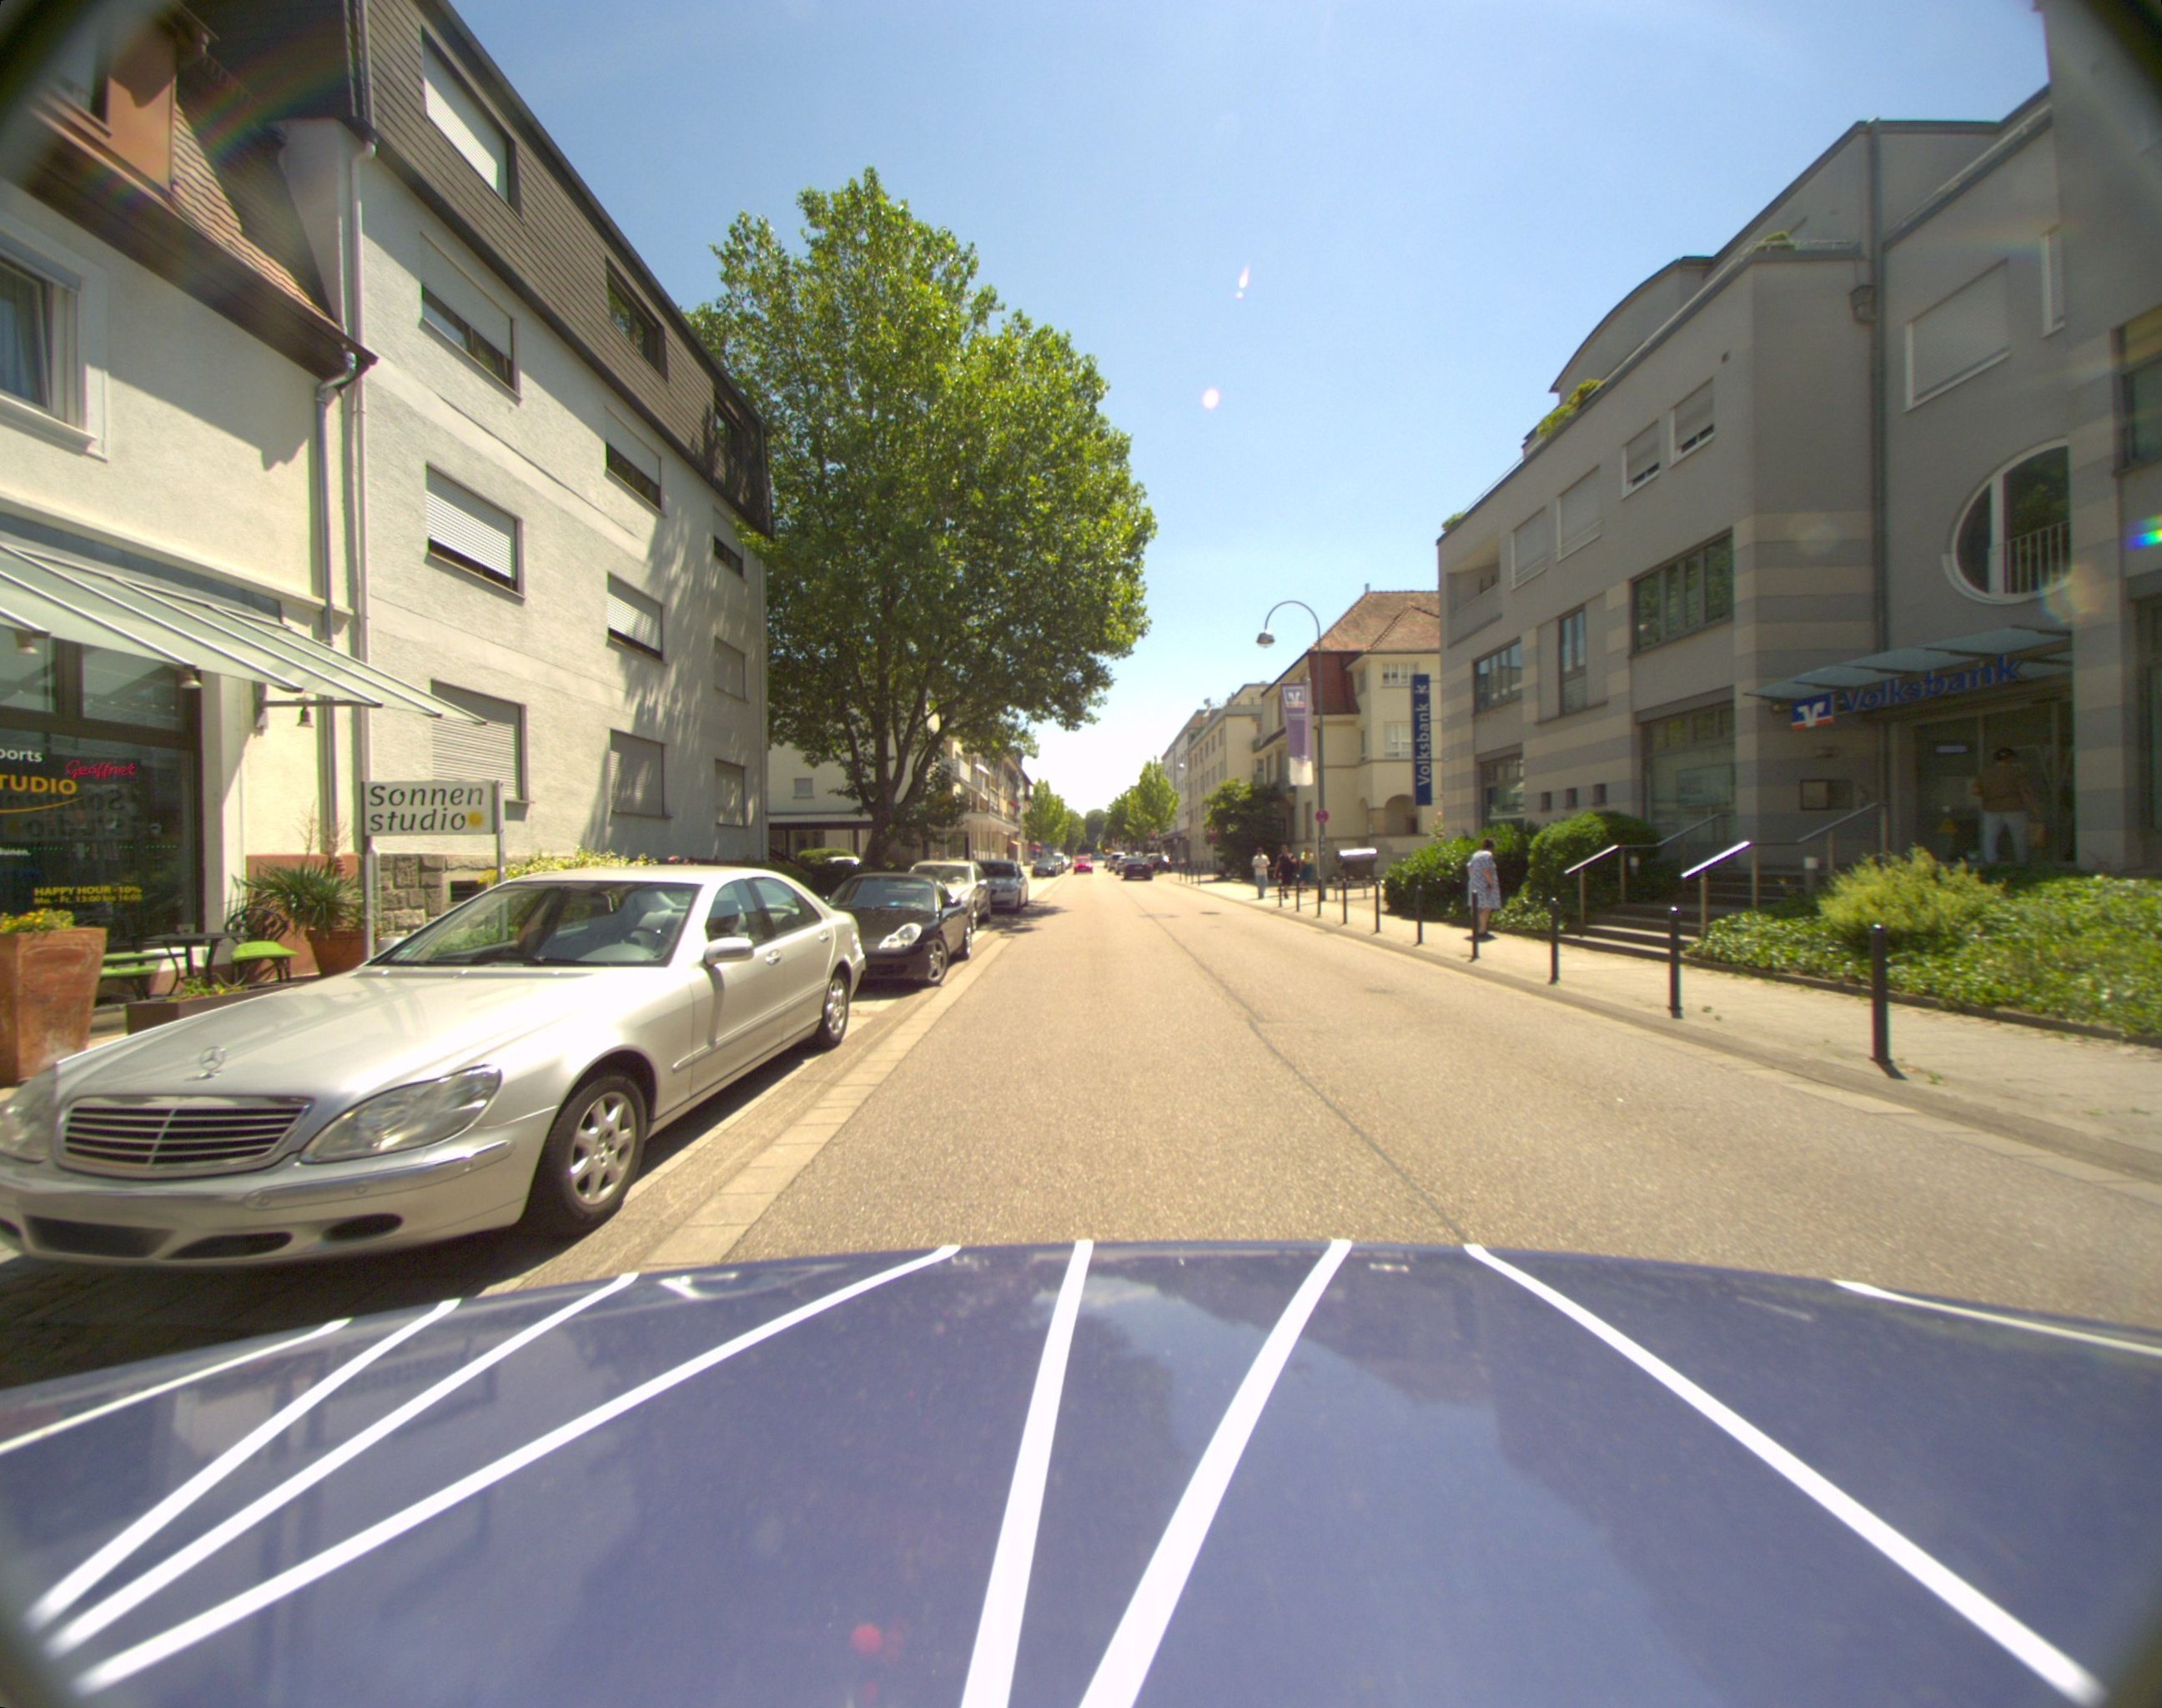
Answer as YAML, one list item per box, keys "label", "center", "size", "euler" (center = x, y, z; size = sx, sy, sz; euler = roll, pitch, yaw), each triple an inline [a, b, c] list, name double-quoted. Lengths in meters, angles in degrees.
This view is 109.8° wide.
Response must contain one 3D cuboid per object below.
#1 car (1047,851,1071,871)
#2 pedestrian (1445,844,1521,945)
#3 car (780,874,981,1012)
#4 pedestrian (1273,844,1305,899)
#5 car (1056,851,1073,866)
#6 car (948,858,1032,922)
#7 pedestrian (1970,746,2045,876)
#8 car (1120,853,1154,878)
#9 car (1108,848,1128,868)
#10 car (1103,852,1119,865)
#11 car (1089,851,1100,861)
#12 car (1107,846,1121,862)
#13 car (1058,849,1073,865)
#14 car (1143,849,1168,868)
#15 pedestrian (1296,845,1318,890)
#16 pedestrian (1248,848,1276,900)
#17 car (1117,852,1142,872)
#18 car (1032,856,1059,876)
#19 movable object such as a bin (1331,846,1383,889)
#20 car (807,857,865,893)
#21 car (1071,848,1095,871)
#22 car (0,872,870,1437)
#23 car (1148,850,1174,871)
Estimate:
- label: "car"
  center: [-1.956, 0.606, 68.370]
  size: [1.731, 1.752, 4.115]
  euler: [-1, 0, 3]
- label: "pedestrian"
  center: [6.776, 0.659, 12.840]
  size: [0.848, 1.635, 0.751]
  euler: [-1, 1, -1]
- label: "car"
  center: [-2.389, 0.991, 10.109]
  size: [1.561, 1.332, 4.173]
  euler: [0, 0, 0]
- label: "pedestrian"
  center: [6.900, 0.575, 25.209]
  size: [0.750, 1.760, 0.951]
  euler: [-2, 1, 0]
- label: "car"
  center: [-1.883, 0.458, 87.379]
  size: [1.731, 1.680, 4.114]
  euler: [-1, 0, 0]
- label: "car"
  center: [-2.529, 0.956, 22.296]
  size: [1.834, 1.502, 4.759]
  euler: [-4, 0, -1]
- label: "pedestrian"
  center: [12.828, -0.576, 10.524]
  size: [0.582, 1.729, 0.610]
  euler: [-2, 1, -35]
- label: "car"
  center: [3.428, 0.714, 47.526]
  size: [1.834, 1.502, 4.262]
  euler: [0, 0, 0]
- label: "car"
  center: [3.605, 0.362, 74.124]
  size: [1.706, 1.815, 4.231]
  euler: [0, 0, 0]
- label: "car"
  center: [3.544, 0.487, 91.034]
  size: [1.731, 1.500, 4.293]
  euler: [0, 1, 0]
- label: "car"
  center: [2.113, 0.306, 123.192]
  size: [1.698, 1.594, 3.812]
  euler: [-1, 0, 0]
- label: "car"
  center: [4.546, 0.019, 104.540]
  size: [1.731, 2.154, 4.294]
  euler: [0, 0, 0]
- label: "car"
  center: [-1.819, 0.362, 92.444]
  size: [1.731, 1.861, 4.114]
  euler: [-1, 0, 0]
- label: "car"
  center: [6.903, 0.395, 70.632]
  size: [1.732, 1.661, 4.293]
  euler: [-2, 0, -1]
- label: "pedestrian"
  center: [8.599, 0.517, 28.931]
  size: [0.541, 1.665, 0.735]
  euler: [-2, 1, 0]
- label: "pedestrian"
  center: [6.018, 0.643, 25.344]
  size: [0.622, 1.667, 0.903]
  euler: [-3, 1, 0]
- label: "car"
  center: [3.872, 0.626, 61.257]
  size: [1.834, 1.502, 4.031]
  euler: [0, 0, 0]
- label: "car"
  center: [-2.646, 0.851, 57.361]
  size: [1.818, 1.379, 4.114]
  euler: [2, 0, 0]
- label: "movable object such as a bin"
  center: [10.406, 0.494, 28.685]
  size: [1.390, 1.479, 1.294]
  euler: [-4, 1, 0]
- label: "car"
  center: [-11.048, 0.907, 34.142]
  size: [1.740, 1.491, 3.455]
  euler: [-1, 0, -30]
- label: "car"
  center: [0.188, 0.484, 68.095]
  size: [2.000, 1.880, 4.294]
  euler: [-3, 0, 0]
- label: "car"
  center: [-2.868, 0.924, 4.617]
  size: [1.748, 1.460, 4.851]
  euler: [1, 0, 1]
- label: "car"
  center: [6.767, 0.492, 64.343]
  size: [1.731, 1.661, 4.294]
  euler: [-2, 0, 0]
